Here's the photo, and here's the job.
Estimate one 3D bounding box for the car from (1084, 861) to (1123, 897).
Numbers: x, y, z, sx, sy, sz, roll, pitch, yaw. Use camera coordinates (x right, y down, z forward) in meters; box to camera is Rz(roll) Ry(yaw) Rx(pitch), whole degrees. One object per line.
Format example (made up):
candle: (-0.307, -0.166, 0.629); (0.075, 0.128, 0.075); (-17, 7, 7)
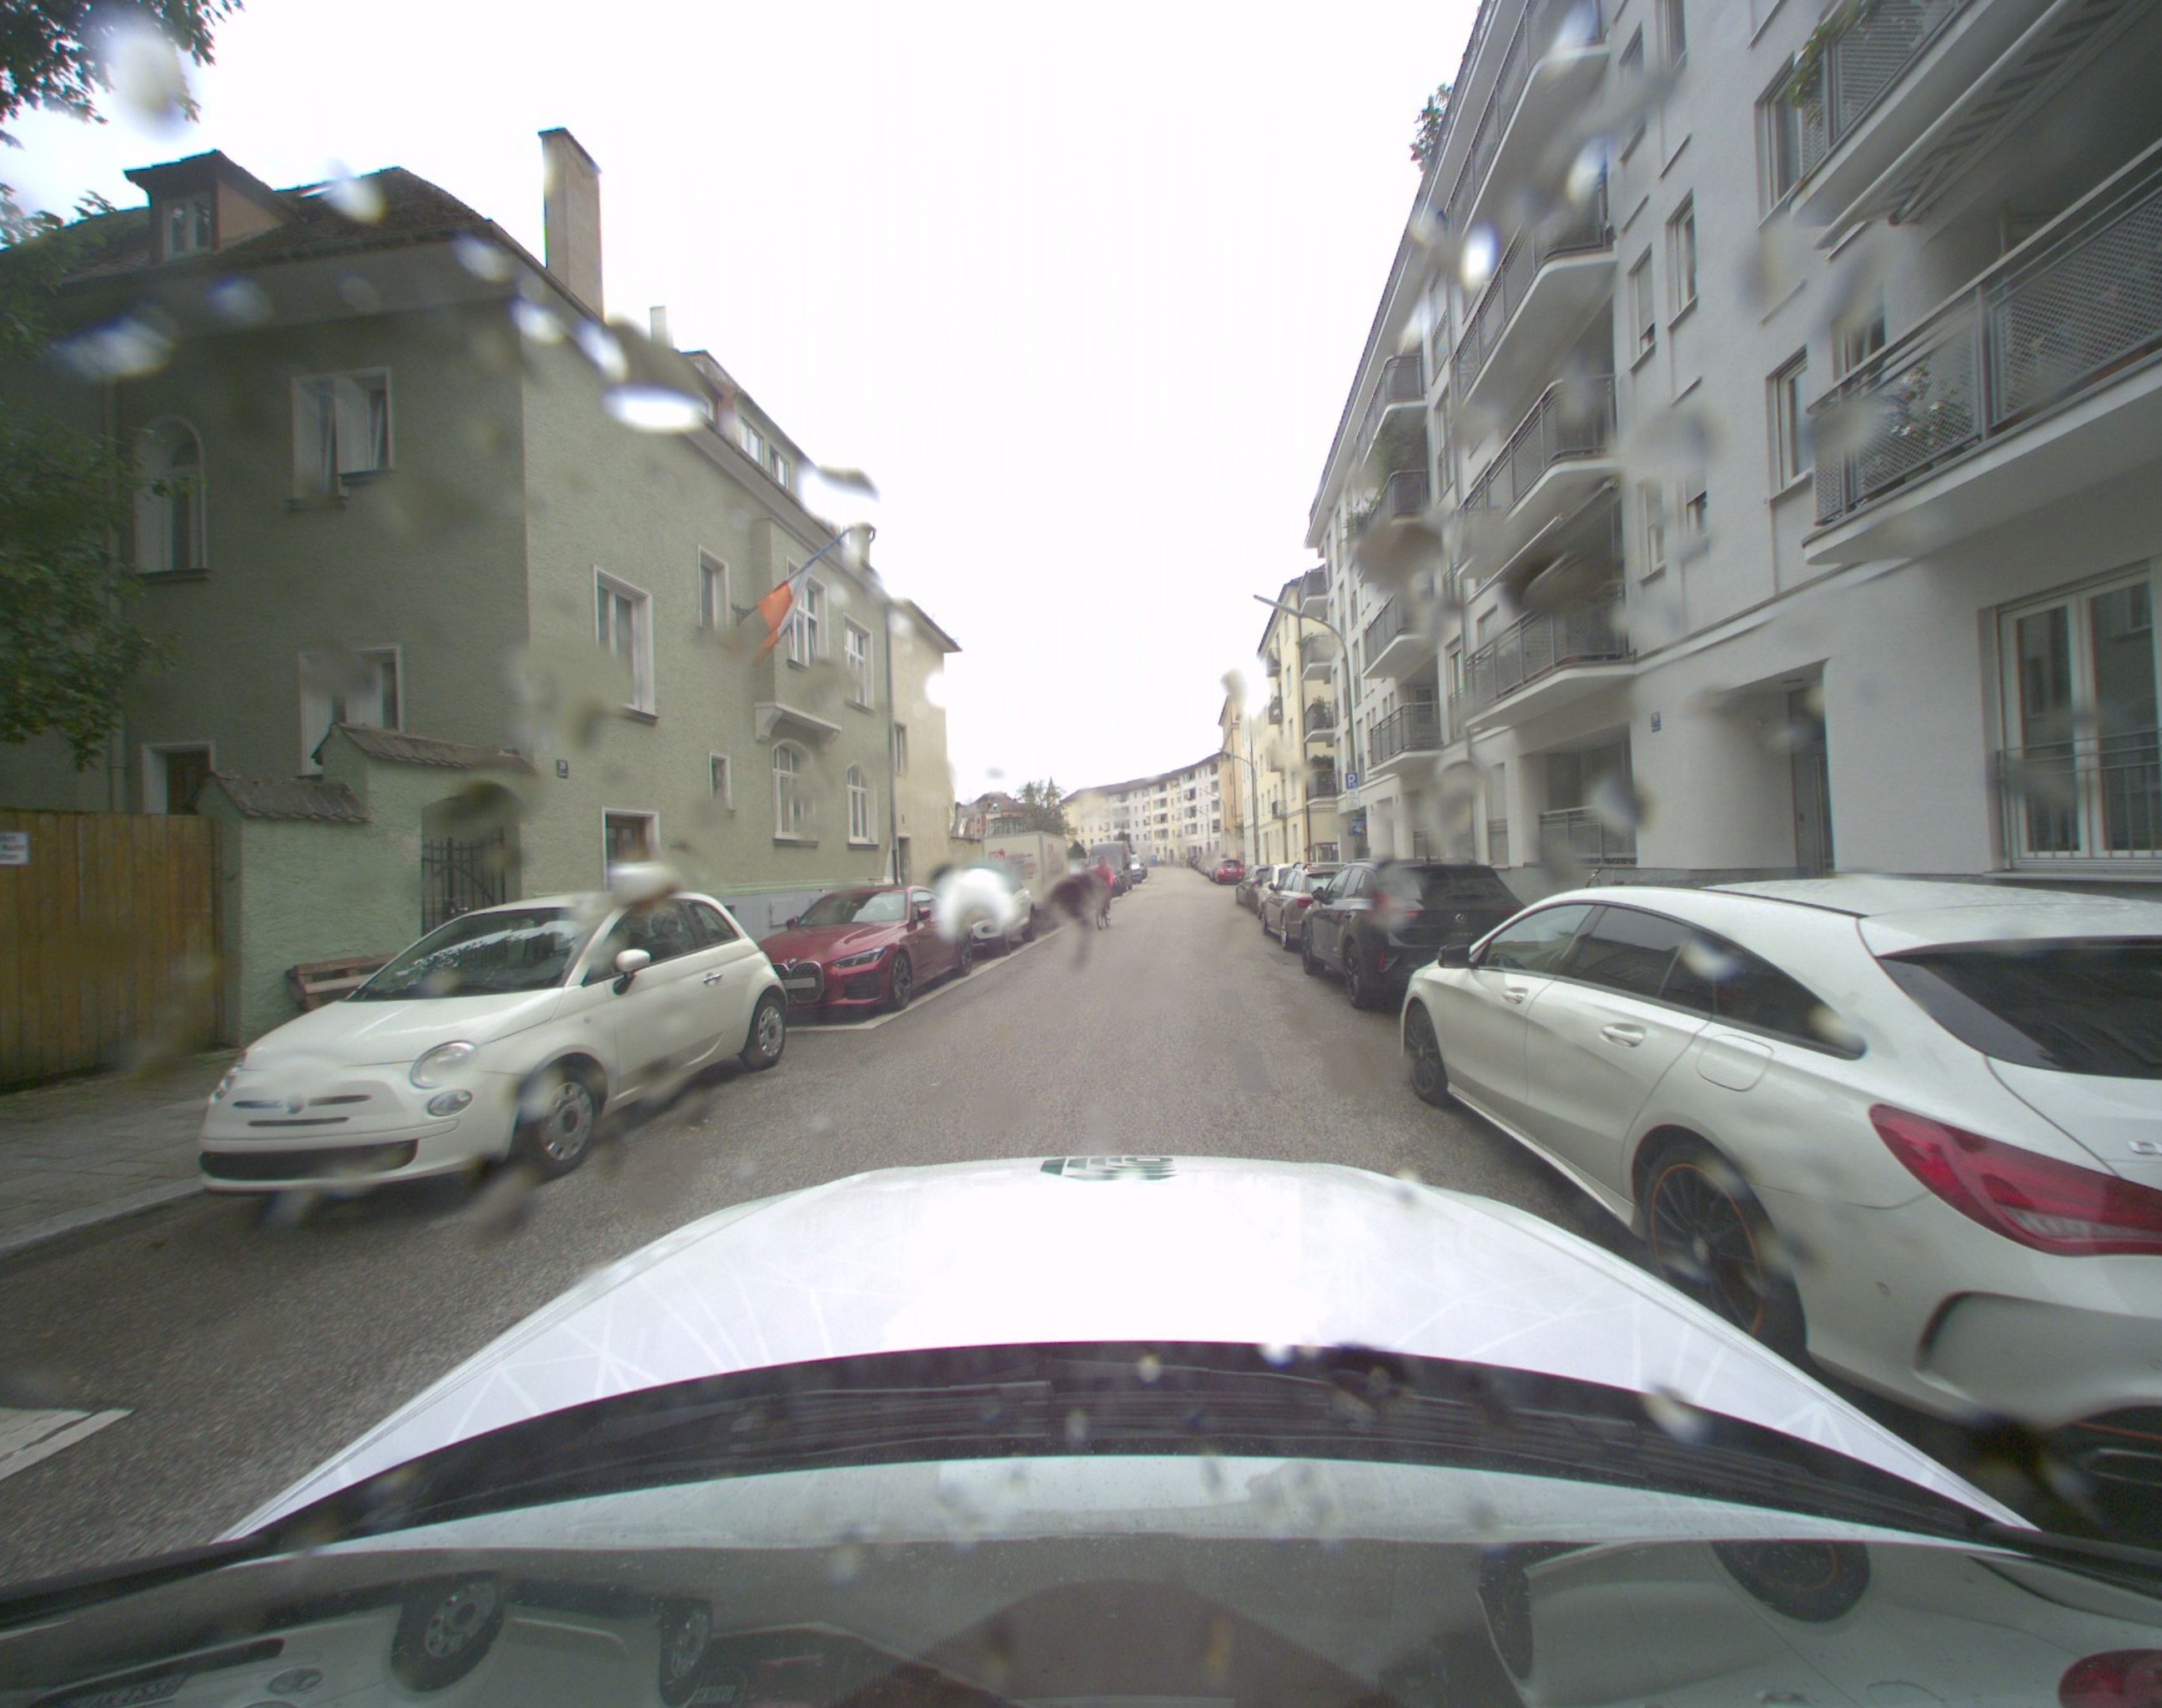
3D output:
car: (1.109, 1.164, 38.486); (1.578, 1.538, 3.548); (-3, -1, 4)

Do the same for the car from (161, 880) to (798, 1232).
car: (-3.362, 0.989, 5.386); (1.466, 1.466, 3.319); (-4, -1, 6)

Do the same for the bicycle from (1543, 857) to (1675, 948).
bicycle: (7.467, 0.637, 11.647); (0.624, 1.160, 2.130); (-3, -1, 5)

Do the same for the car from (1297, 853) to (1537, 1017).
car: (3.701, 0.774, 9.713); (1.595, 1.530, 3.991); (0, 0, 6)

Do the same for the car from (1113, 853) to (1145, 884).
car: (3.362, 0.984, 56.181); (1.873, 1.931, 4.608); (-4, 0, 6)

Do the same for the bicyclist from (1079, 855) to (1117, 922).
bicyclist: (0.420, 0.820, 19.779); (0.690, 1.561, 0.969); (-3, -1, 10)

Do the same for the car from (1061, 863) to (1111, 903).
car: (0.256, 1.141, 33.461); (1.693, 1.446, 3.830); (-1, 0, 5)

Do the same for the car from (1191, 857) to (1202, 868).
car: (15.049, 1.116, 105.859); (1.266, 1.299, 2.802); (-2, 0, 6)

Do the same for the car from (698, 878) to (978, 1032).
car: (-2.781, 1.103, 10.513); (1.851, 1.412, 4.340); (-4, -2, 6)

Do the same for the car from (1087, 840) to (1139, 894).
car: (1.815, 0.621, 43.631); (2.076, 2.636, 5.390); (-2, 0, 9)

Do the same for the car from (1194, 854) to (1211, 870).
car: (12.502, 0.837, 83.947); (1.583, 1.582, 4.306); (-1, 0, 6)

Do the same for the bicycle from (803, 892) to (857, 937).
bicycle: (-5.762, 1.364, 18.790); (0.520, 0.906, 1.931); (1, 0, 4)

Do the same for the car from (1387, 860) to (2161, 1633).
car: (2.762, 0.751, 3.578); (1.649, 1.440, 4.213); (0, 0, 6)

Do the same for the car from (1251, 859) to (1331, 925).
car: (5.286, 0.903, 20.880); (1.511, 1.530, 3.533); (-1, -1, 6)

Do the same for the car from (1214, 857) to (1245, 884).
car: (8.879, 0.978, 48.900); (1.587, 1.509, 3.808); (-2, -1, 7)

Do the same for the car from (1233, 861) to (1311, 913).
car: (5.813, 0.973, 25.219); (1.755, 1.408, 4.083); (-2, -1, 5)

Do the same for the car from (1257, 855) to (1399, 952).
car: (4.444, 0.807, 15.354); (1.725, 1.530, 4.629); (0, 0, 6)

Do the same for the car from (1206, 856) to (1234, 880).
car: (10.086, 0.985, 59.225); (1.684, 1.491, 4.290); (-3, 0, 6)

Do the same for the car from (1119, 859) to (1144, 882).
car: (4.115, 1.289, 65.423); (1.693, 1.691, 4.035); (-4, 0, 6)

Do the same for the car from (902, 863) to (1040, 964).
car: (-2.009, 1.049, 16.016); (1.678, 1.603, 3.928); (-4, -1, 6)

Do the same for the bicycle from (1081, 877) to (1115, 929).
bicycle: (0.432, 1.161, 19.734); (0.501, 1.128, 1.778); (-3, -1, 10)

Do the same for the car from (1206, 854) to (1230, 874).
car: (10.842, 0.757, 64.650); (1.591, 1.491, 3.804); (-2, 0, 5)

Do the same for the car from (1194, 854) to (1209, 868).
car: (13.851, 0.794, 93.929); (1.466, 1.641, 4.007); (-1, 0, 6)

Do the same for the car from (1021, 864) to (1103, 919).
car: (-0.526, 1.163, 26.989); (1.756, 1.538, 4.553); (-4, -1, 10)

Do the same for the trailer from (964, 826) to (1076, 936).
trailer: (-1.448, 0.638, 21.195); (1.699, 2.461, 4.398); (-4, -1, 10)
